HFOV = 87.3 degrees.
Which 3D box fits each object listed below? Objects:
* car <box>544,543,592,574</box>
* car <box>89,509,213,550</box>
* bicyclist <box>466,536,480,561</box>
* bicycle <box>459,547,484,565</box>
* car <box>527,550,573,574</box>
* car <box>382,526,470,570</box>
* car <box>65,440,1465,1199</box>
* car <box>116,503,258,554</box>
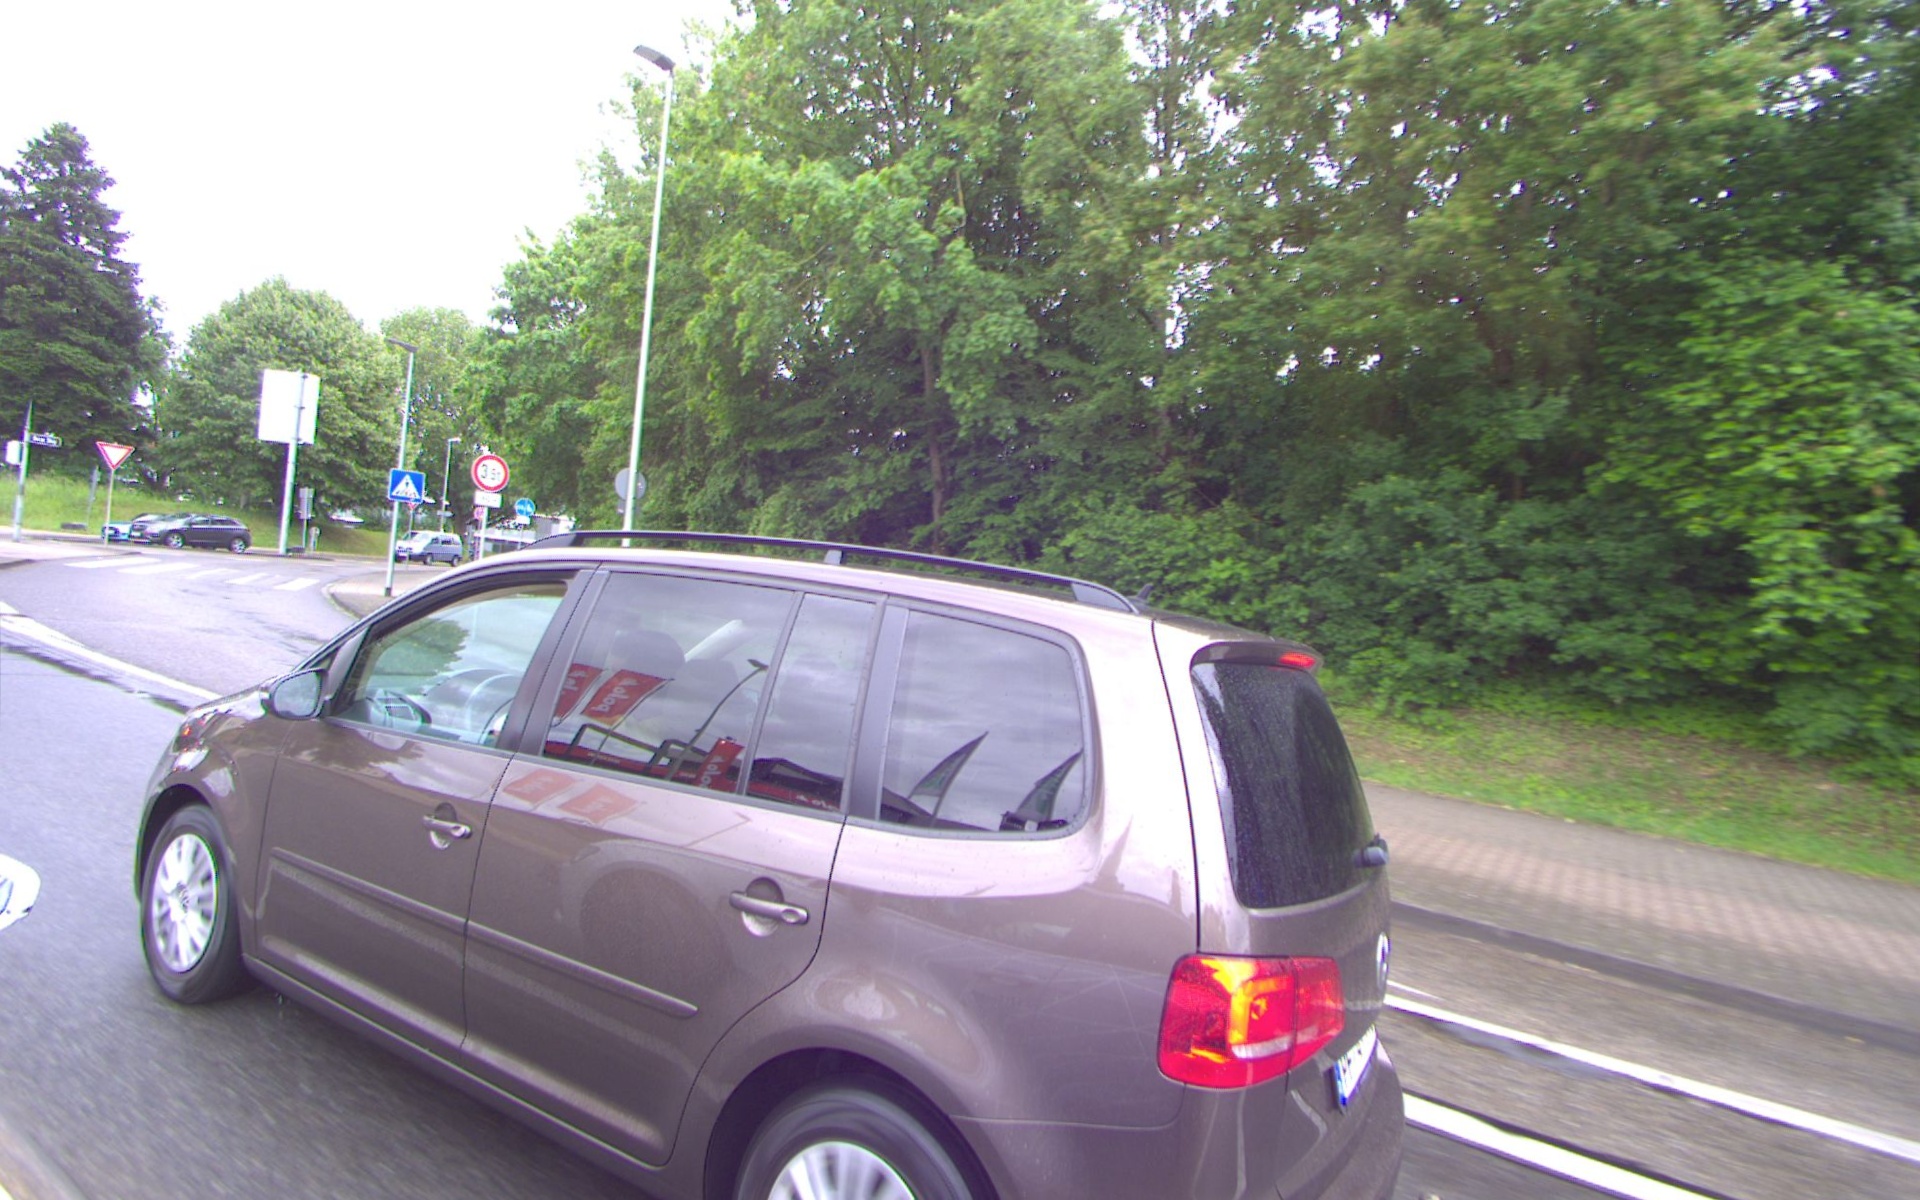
[{"bbox_3d":[-26.812,-2.828,68.954,1.788,1.729,3.941,8,0,-4],"label":"car"},{"bbox_3d":[-35.090,-3.028,43.770,1.578,1.310,3.999,8,1,13],"label":"car"},{"bbox_3d":[-31.478,-3.323,65.064,0.446,1.507,0.562,7,1,4],"label":"bicyclist"},{"bbox_3d":[-31.537,-2.826,64.978,0.568,0.964,1.750,7,0,4],"label":"bicycle"},{"bbox_3d":[-30.595,-2.814,75.149,1.805,1.465,3.998,6,0,-2],"label":"car"},{"bbox_3d":[-29.884,-2.877,56.479,1.865,1.874,4.743,8,0,5],"label":"car"},{"bbox_3d":[-0.817,0.571,3.171,4.060,1.616,1.717,8,0,30],"label":"car"},{"bbox_3d":[-32.181,-2.937,42.051,1.865,1.485,4.331,7,0,17],"label":"car"}]
